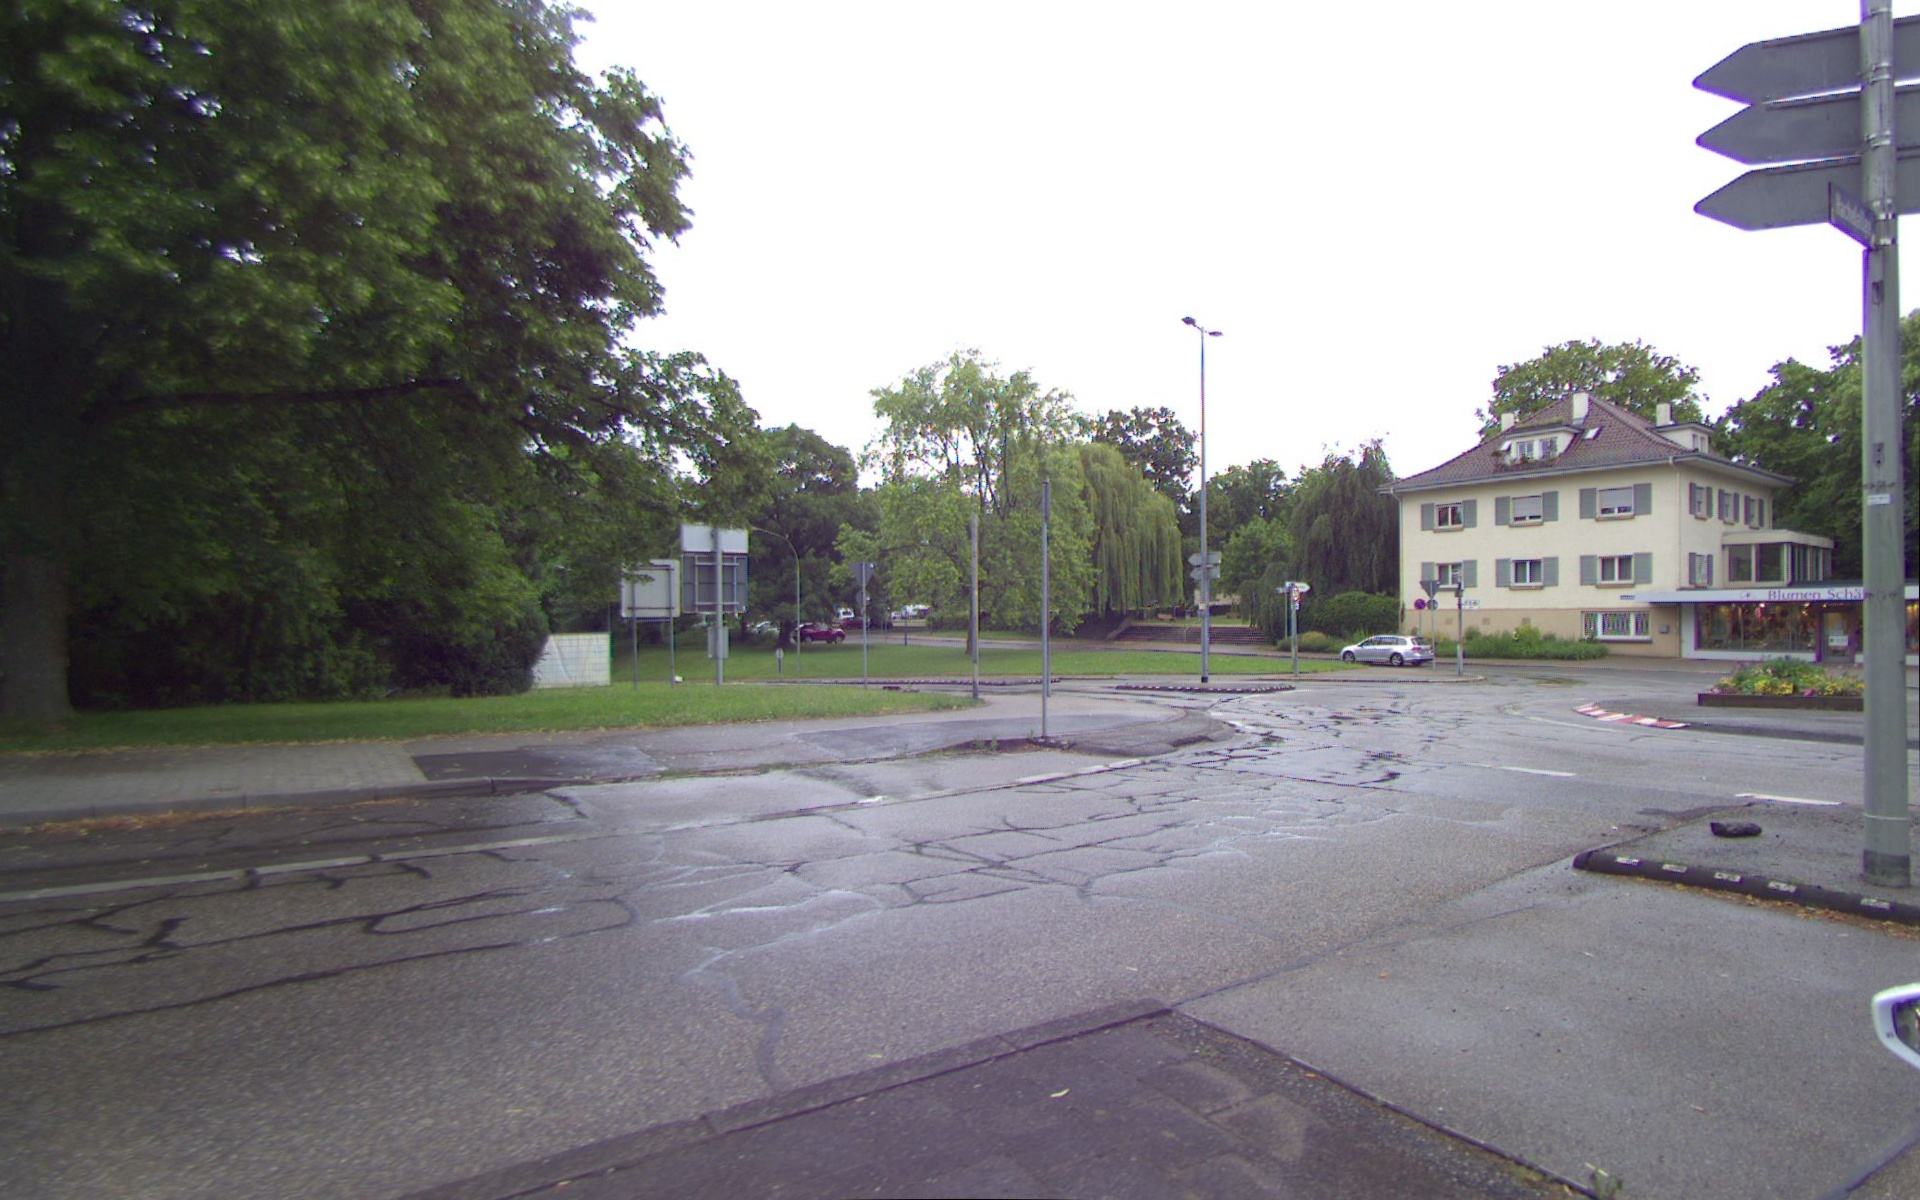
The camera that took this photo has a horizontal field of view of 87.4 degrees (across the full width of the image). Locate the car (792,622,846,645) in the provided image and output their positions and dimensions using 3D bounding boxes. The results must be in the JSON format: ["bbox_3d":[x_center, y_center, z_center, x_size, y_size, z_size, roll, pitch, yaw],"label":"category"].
[{"bbox_3d":[-10.565,2.540,75.451,3.597,1.615,1.789,2,0,-33],"label":"car"}]

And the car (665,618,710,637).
[{"bbox_3d":[-24.621,2.482,90.733,3.597,1.615,1.789,2,0,-33],"label":"car"}]

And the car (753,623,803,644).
[{"bbox_3d":[-14.795,2.725,81.620,3.597,1.615,1.789,2,0,-33],"label":"car"}]

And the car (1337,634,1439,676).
[{"bbox_3d":[20.479,2.596,48.178,1.979,1.764,4.104,2,0,-34],"label":"car"}]
